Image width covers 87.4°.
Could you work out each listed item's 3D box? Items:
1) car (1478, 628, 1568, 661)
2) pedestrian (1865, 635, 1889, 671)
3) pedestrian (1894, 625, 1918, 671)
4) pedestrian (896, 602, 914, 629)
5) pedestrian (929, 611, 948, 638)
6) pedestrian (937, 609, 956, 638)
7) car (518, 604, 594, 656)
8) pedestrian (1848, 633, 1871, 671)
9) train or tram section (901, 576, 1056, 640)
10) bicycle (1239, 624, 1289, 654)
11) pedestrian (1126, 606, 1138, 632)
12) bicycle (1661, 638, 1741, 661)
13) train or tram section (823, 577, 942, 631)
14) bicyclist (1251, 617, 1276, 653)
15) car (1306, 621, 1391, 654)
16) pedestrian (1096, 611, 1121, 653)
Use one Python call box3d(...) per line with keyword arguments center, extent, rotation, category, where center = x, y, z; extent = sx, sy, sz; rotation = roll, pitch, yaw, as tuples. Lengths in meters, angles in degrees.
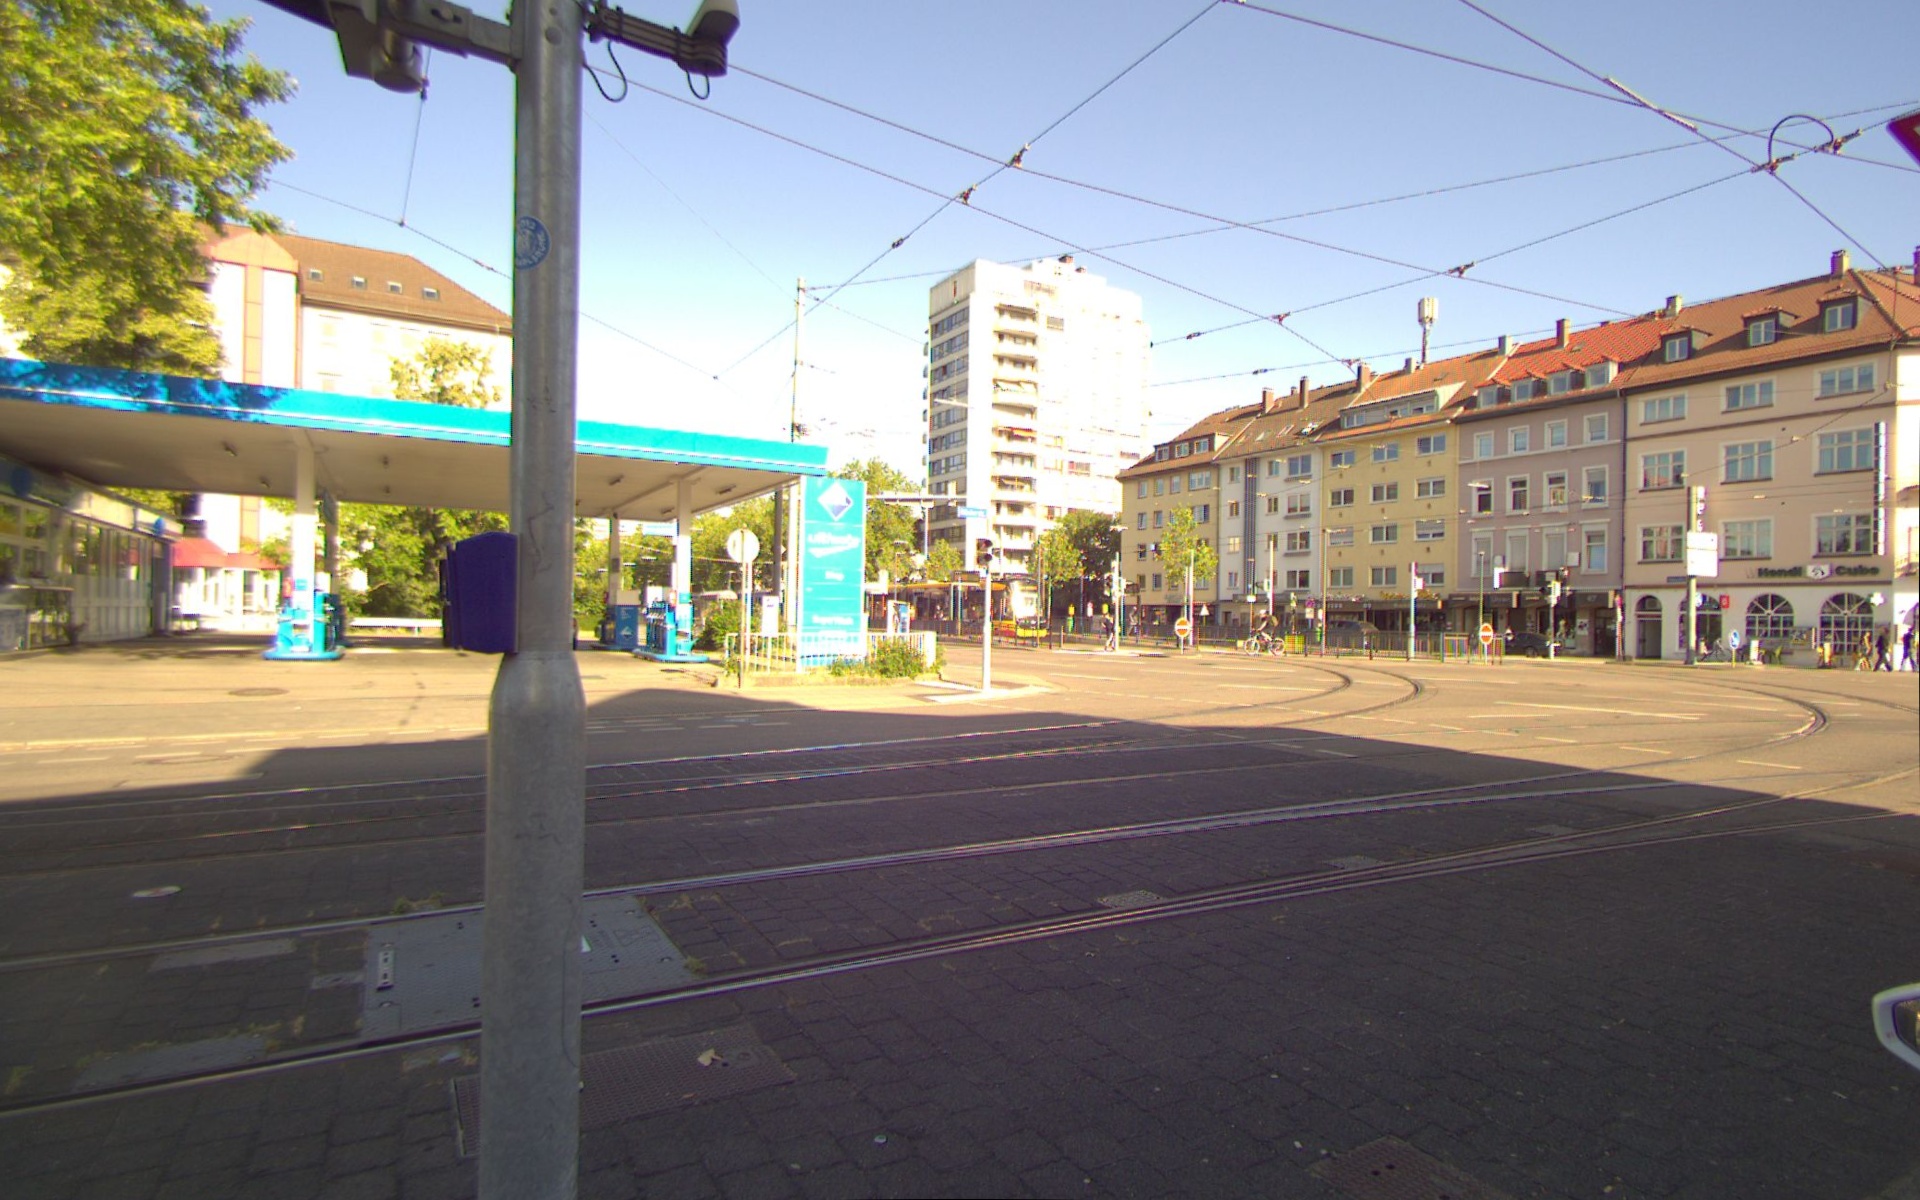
box3d(center=(30.857, 2.420, 55.136), extent=(1.970, 1.692, 3.981), rotation=(1, -1, -21), category="car")
box3d(center=(39.080, 2.241, 42.813), extent=(0.460, 1.496, 0.629), rotation=(2, 0, -33), category="pedestrian")
box3d(center=(40.369, 2.039, 42.851), extent=(0.460, 1.906, 0.629), rotation=(2, 0, -33), category="pedestrian")
box3d(center=(-3.205, 0.916, 58.614), extent=(0.814, 1.532, 0.699), rotation=(1, -1, -33), category="pedestrian")
box3d(center=(-1.196, 1.408, 56.985), extent=(0.814, 1.532, 0.699), rotation=(1, -1, -33), category="pedestrian")
box3d(center=(-0.742, 1.296, 55.818), extent=(0.814, 1.608, 0.699), rotation=(1, -1, -33), category="pedestrian")
box3d(center=(-12.112, 0.861, 30.007), extent=(1.764, 1.411, 3.455), rotation=(2, 0, -28), category="car")
box3d(center=(39.274, 2.252, 43.858), extent=(0.460, 1.633, 0.629), rotation=(2, 0, -33), category="pedestrian")
box3d(center=(0.724, 0.364, 57.572), extent=(2.751, 3.273, 12.286), rotation=(2, 0, -31), category="train or tram section")
box3d(center=(11.835, 1.525, 39.144), extent=(1.759, 1.084, 0.575), rotation=(2, 0, 1), category="bicycle")
box3d(center=(11.190, 1.228, 65.380), extent=(0.570, 1.649, 0.522), rotation=(2, 0, -31), category="pedestrian")
box3d(center=(37.502, 2.494, 50.892), extent=(0.989, 0.993, 3.115), rotation=(2, 0, -29), category="bicycle")
box3d(center=(-5.517, 0.203, 68.051), extent=(2.751, 3.273, 12.286), rotation=(2, 0, -31), category="train or tram section")
box3d(center=(11.811, 1.351, 39.099), extent=(0.787, 1.384, 0.560), rotation=(2, 0, 2), category="bicyclist")
box3d(center=(21.533, 2.084, 55.792), extent=(1.929, 1.639, 4.148), rotation=(2, 0, -28), category="car")
box3d(center=(6.017, 1.298, 40.627), extent=(0.675, 1.656, 0.694), rotation=(2, 0, -35), category="pedestrian")
